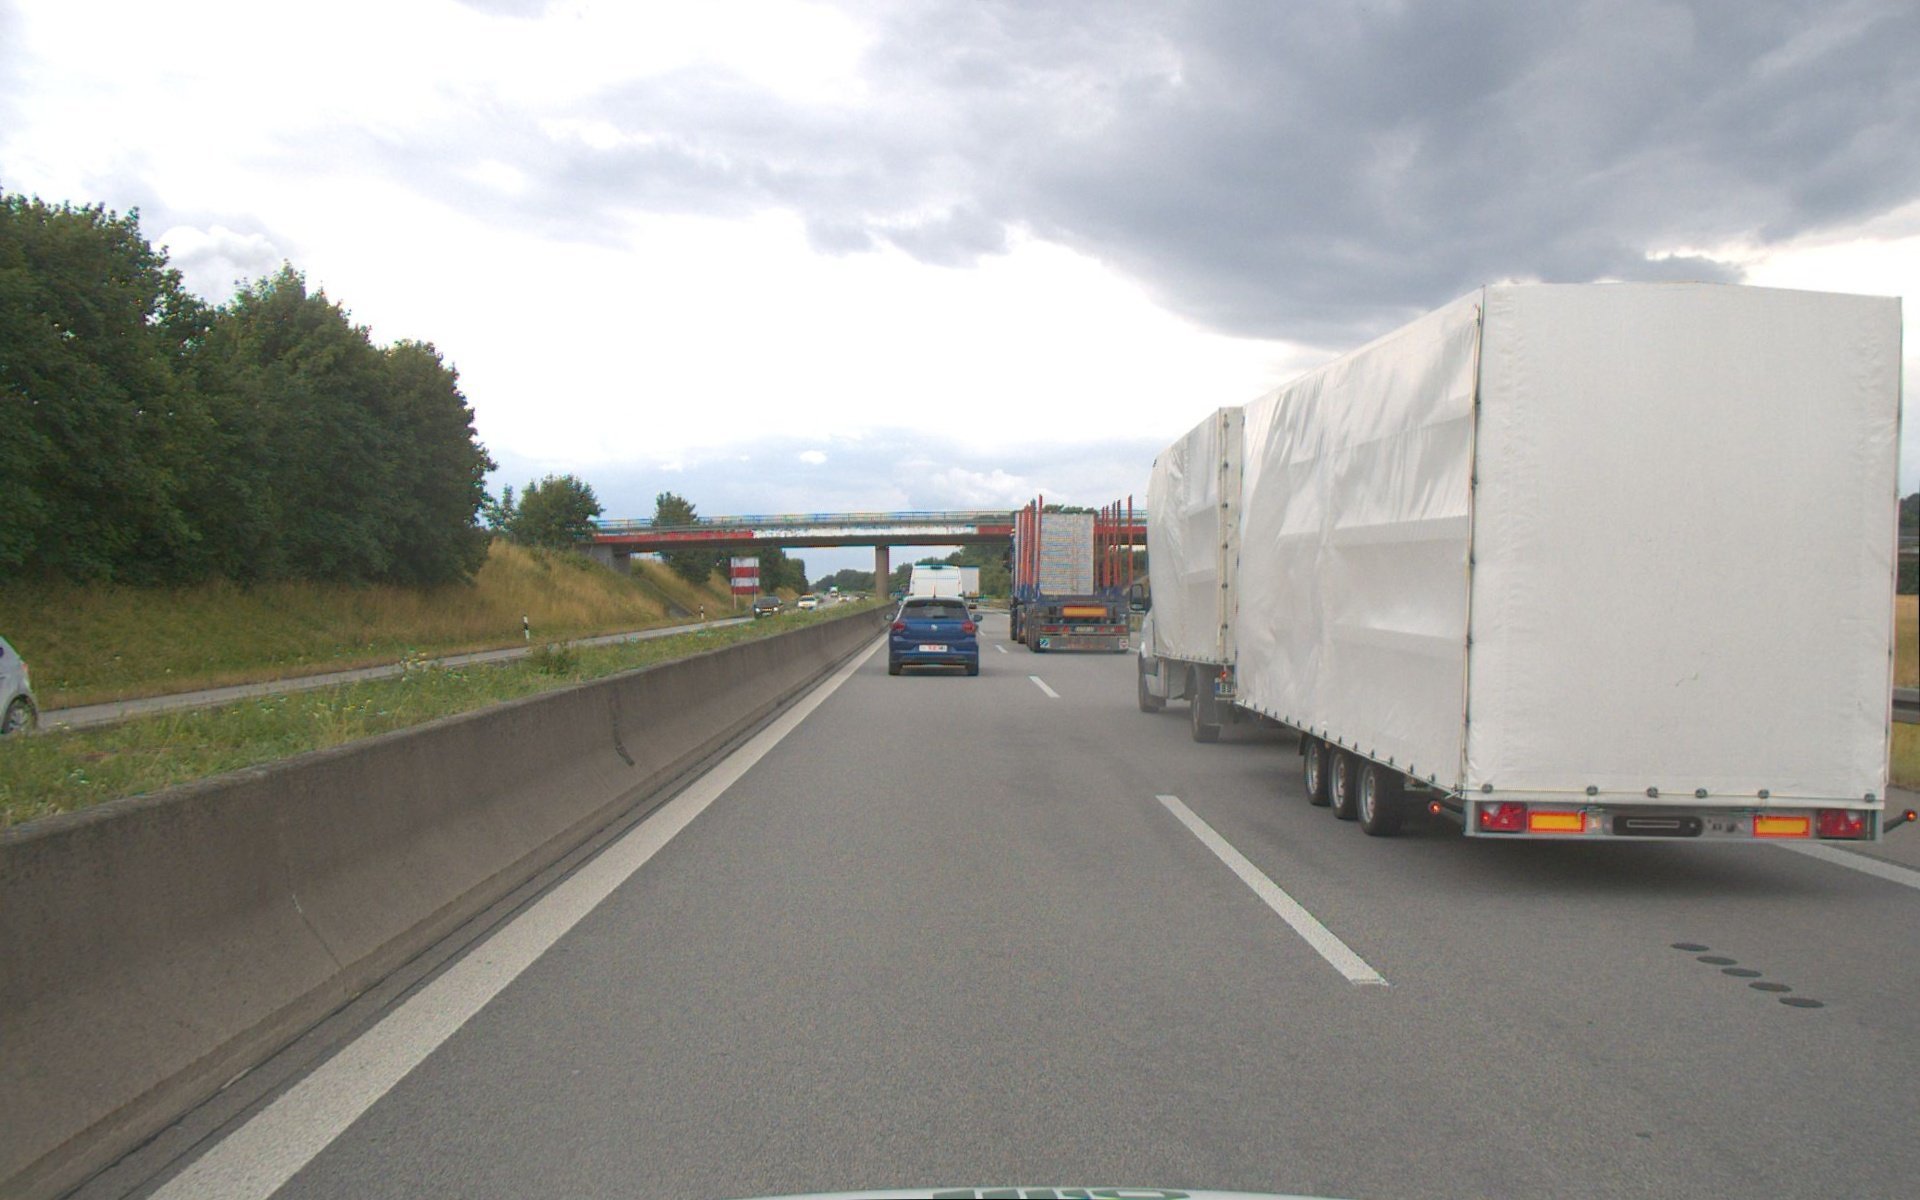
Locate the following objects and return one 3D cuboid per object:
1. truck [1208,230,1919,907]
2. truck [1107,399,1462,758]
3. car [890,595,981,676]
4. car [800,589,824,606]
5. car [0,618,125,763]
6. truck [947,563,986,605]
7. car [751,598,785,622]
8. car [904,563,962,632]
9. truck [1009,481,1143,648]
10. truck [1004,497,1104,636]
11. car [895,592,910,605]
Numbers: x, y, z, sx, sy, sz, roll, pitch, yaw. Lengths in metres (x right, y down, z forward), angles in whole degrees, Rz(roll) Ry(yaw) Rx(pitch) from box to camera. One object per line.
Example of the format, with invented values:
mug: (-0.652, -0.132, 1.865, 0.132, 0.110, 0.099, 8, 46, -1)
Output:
truck: (3.590, -0.172, 11.636, 2.366, 3.278, 7.140, 0, 0, -2)
truck: (3.320, -0.215, 18.873, 2.381, 3.300, 7.244, 0, 0, -2)
car: (-0.482, 0.631, 31.608, 1.630, 1.431, 3.647, 0, 1, -1)
car: (-14.048, -0.238, 156.853, 1.857, 1.487, 4.541, -3, 0, -1)
car: (-10.612, 0.976, 17.504, 1.613, 1.434, 3.887, -3, 0, -2)
truck: (0.598, -1.516, 160.601, 3.049, 3.754, 9.316, -2, 0, -3)
car: (-12.107, 0.635, 104.553, 1.613, 1.402, 4.234, -3, 0, -1)
car: (-1.036, -0.092, 63.632, 2.087, 2.526, 5.838, 0, 0, -1)
truck: (3.049, -0.973, 46.669, 2.619, 4.116, 11.104, -1, 1, -2)
truck: (2.876, -1.052, 52.112, 2.619, 4.116, 5.510, -1, 1, -2)
car: (-7.756, -0.254, 222.218, 1.953, 1.713, 3.999, 0, 0, -1)
